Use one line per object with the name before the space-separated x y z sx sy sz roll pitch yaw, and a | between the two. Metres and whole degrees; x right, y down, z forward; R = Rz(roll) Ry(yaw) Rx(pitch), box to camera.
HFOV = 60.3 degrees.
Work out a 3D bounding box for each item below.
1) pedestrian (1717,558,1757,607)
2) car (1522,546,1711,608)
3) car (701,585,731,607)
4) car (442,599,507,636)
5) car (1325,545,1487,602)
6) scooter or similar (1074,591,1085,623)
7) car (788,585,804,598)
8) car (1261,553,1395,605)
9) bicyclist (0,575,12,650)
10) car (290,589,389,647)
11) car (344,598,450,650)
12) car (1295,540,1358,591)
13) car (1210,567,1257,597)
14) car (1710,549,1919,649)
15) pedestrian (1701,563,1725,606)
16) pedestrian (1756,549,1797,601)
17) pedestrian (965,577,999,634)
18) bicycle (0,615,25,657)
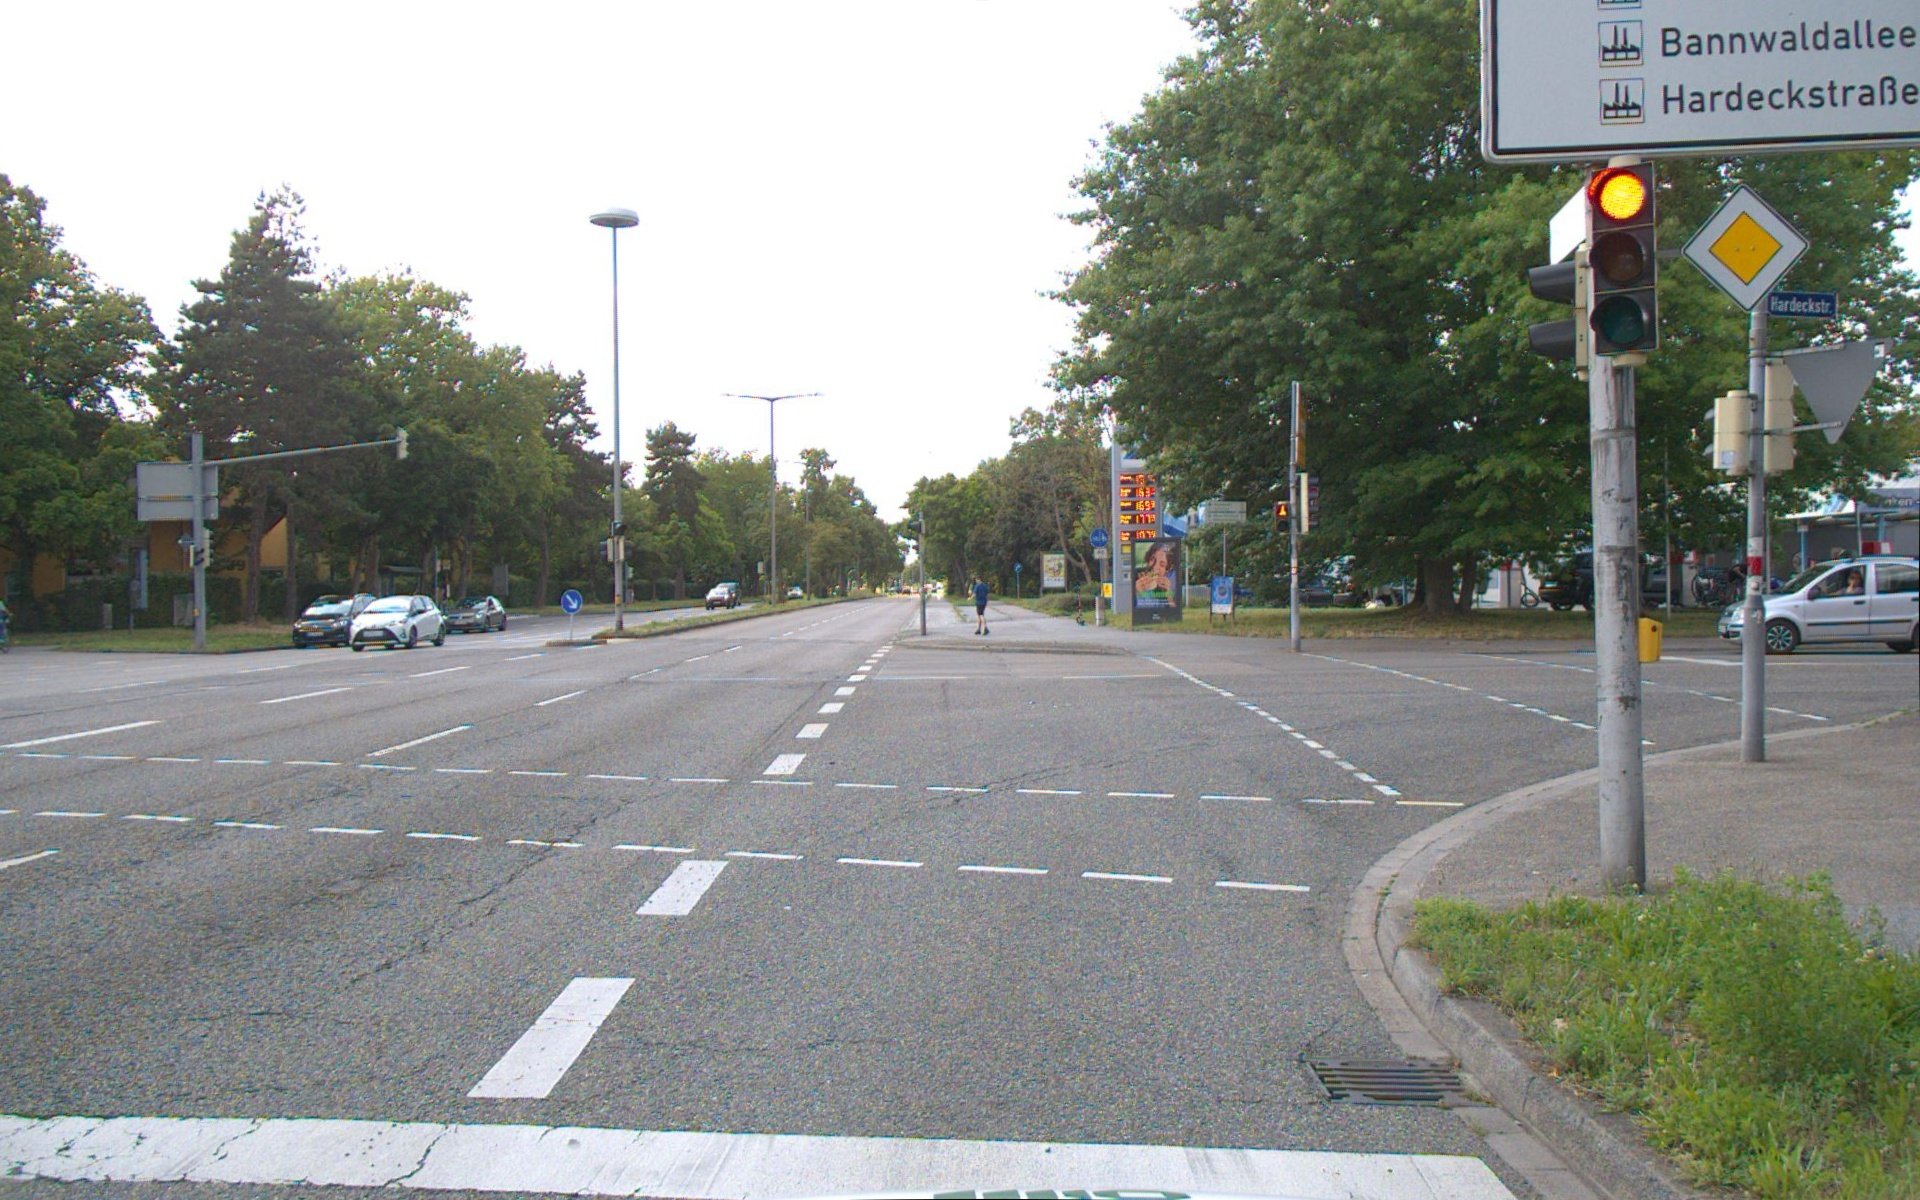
pedestrian | 19.769 -0.447 42.093 0.641 1.210 0.753 1 -1 -45
car | 18.332 -0.640 46.258 4.469 1.624 2.148 -1 0 -12
car | -17.523 -0.296 118.922 1.736 1.490 4.453 -1 0 -4
car | -19.620 0.693 66.941 1.562 1.396 4.079 -1 0 -3
car | 15.745 -0.933 58.465 5.089 1.858 2.148 -1 0 -12
scooter or similar | 3.755 0.212 52.008 0.216 0.996 1.272 -1 0 -1
car | -21.902 -1.157 220.742 1.822 1.735 4.454 -1 0 -2
car | 15.418 -0.888 69.393 5.079 2.039 2.152 -1 0 -5
bicyclist | -26.793 0.350 45.658 0.736 2.049 0.831 -1 0 -3
car | -20.072 0.567 53.659 1.637 1.772 4.309 0 0 -1
car | -15.770 0.664 46.514 1.717 1.331 3.693 -2 0 -1
car | 18.830 -1.733 85.219 1.715 2.496 5.747 -1 0 -2
car | 14.551 -0.953 88.083 1.715 1.479 3.739 -1 0 -2
car | 14.281 -0.018 26.911 3.520 1.543 1.560 -1 0 12
pedestrian | 27.776 -0.573 61.011 0.640 1.571 0.624 -1 0 6
pedestrian | 20.519 -0.622 41.550 0.641 1.277 0.753 1 -1 -45
pedestrian | 0.617 0.146 46.055 0.713 1.558 0.756 -1 0 -17
bicycle | -26.782 0.998 45.733 0.740 1.138 2.113 -1 0 -3
